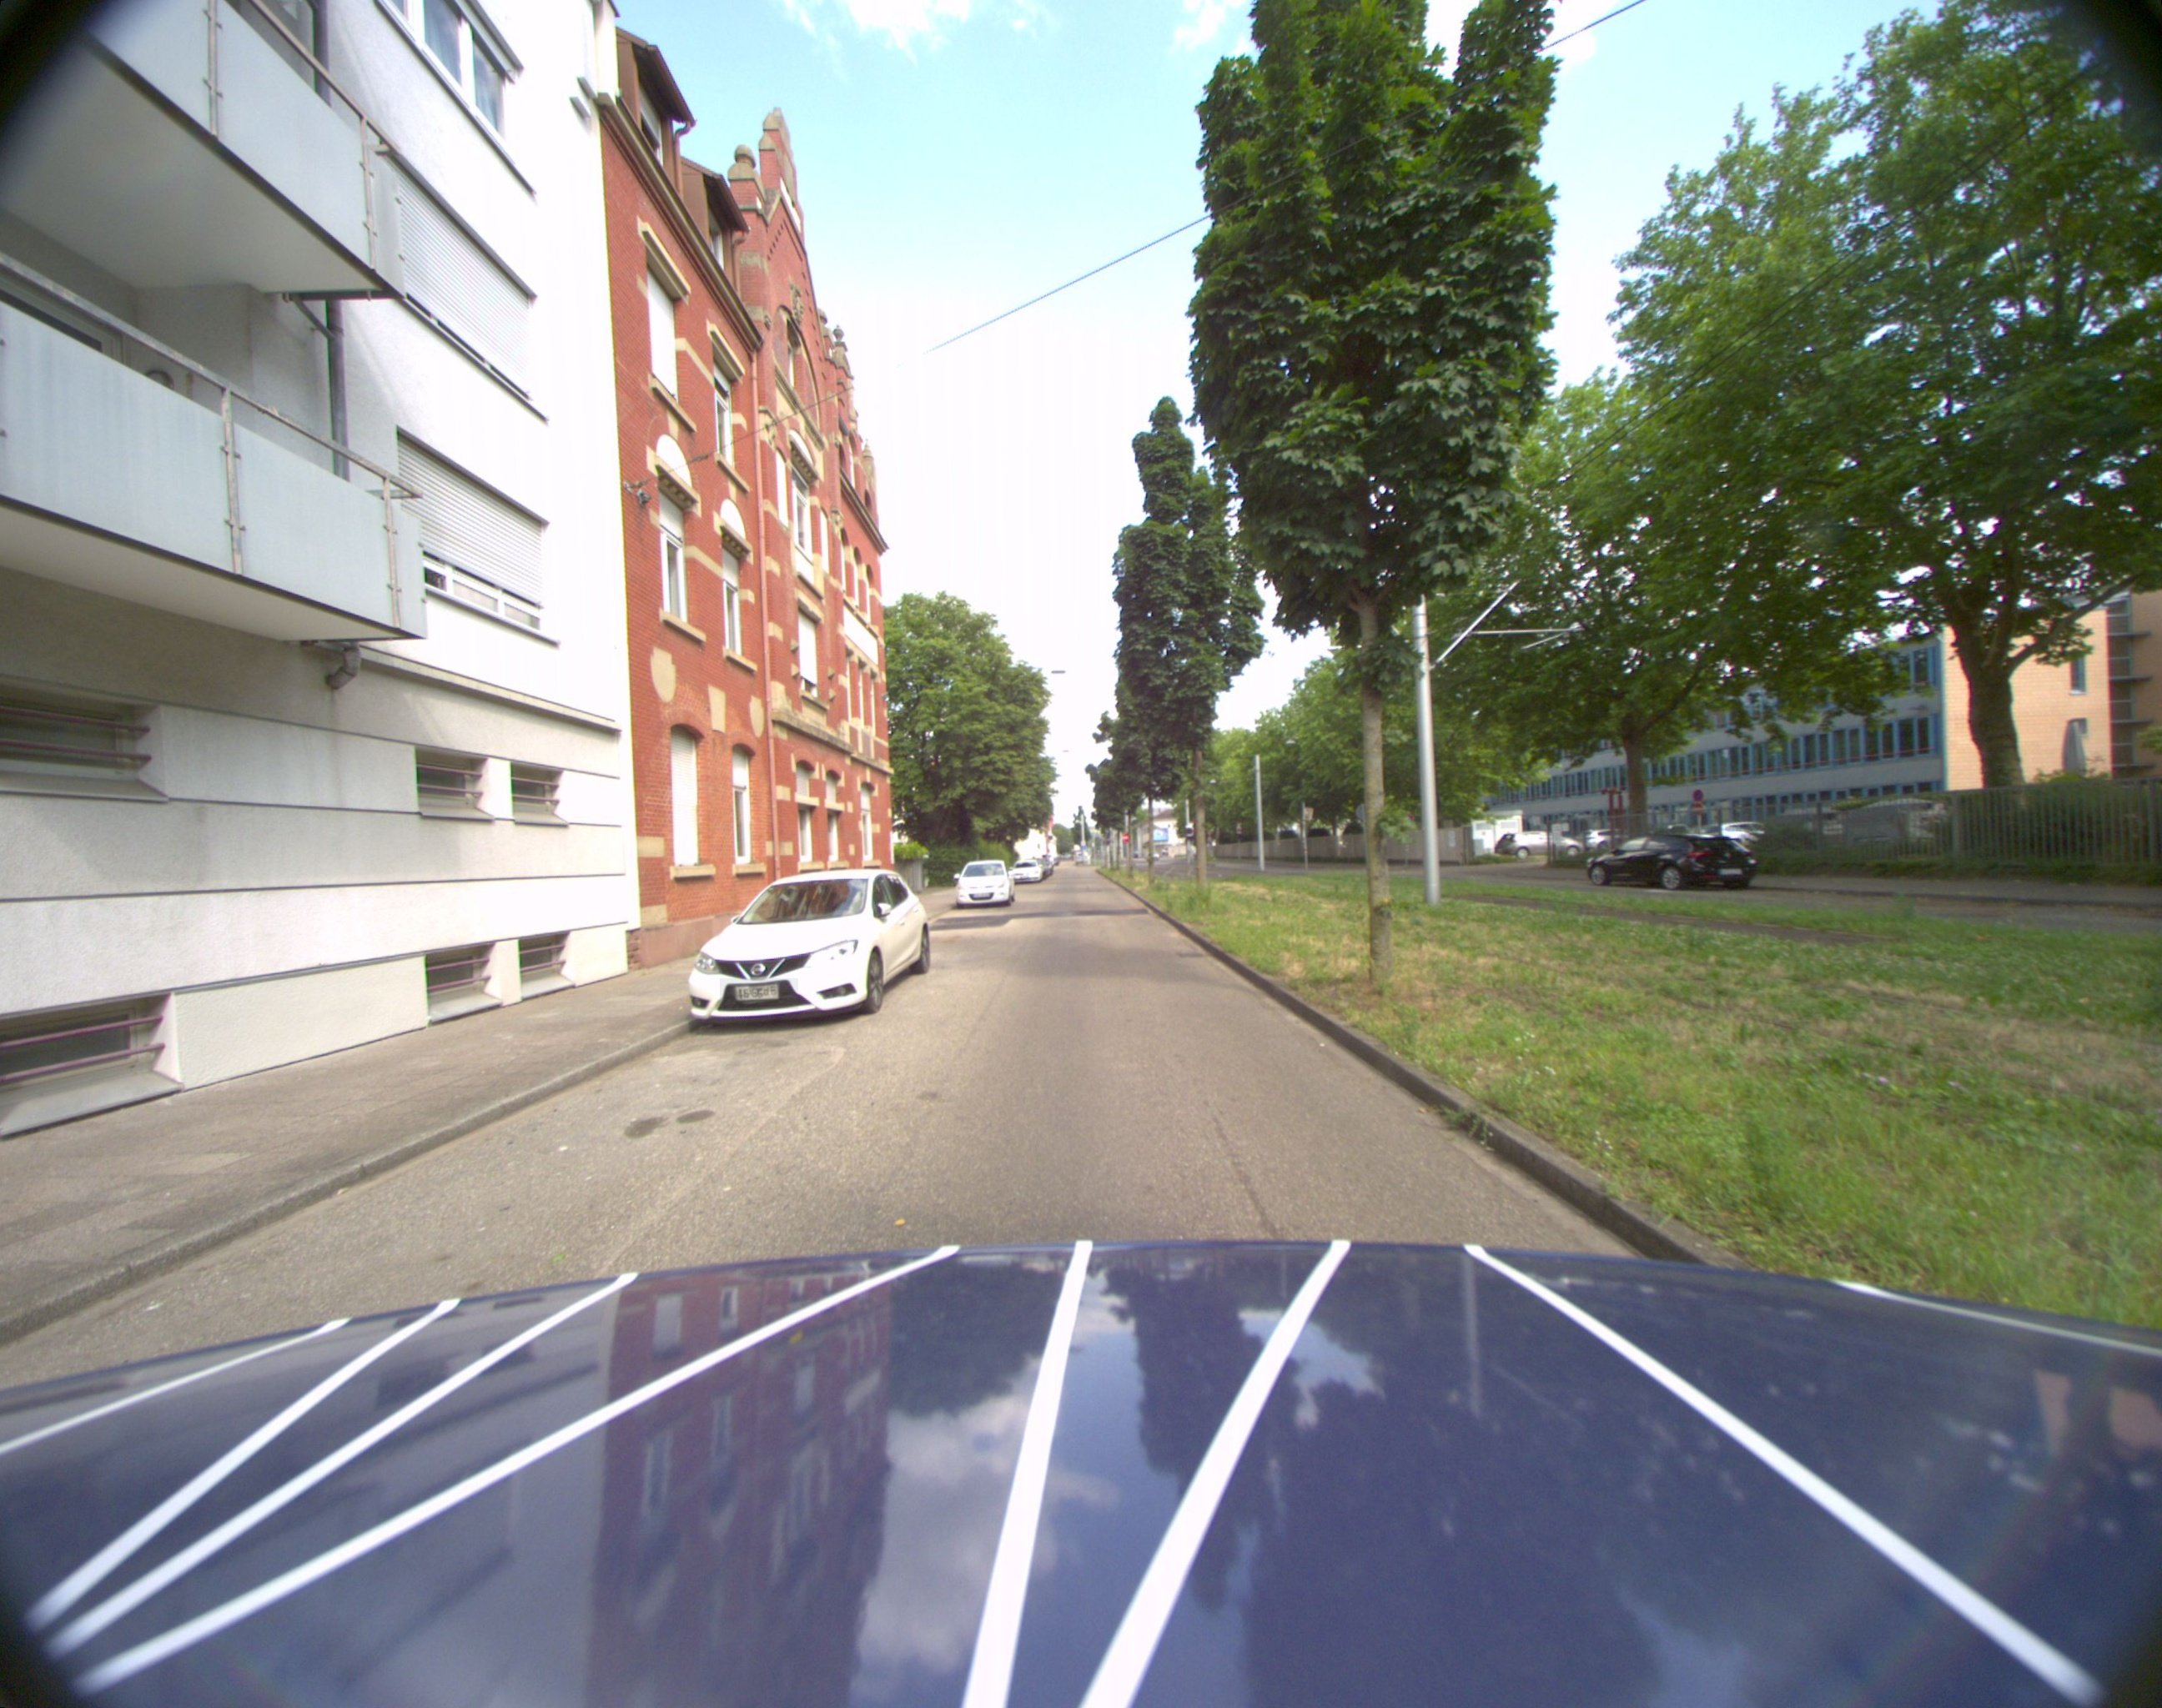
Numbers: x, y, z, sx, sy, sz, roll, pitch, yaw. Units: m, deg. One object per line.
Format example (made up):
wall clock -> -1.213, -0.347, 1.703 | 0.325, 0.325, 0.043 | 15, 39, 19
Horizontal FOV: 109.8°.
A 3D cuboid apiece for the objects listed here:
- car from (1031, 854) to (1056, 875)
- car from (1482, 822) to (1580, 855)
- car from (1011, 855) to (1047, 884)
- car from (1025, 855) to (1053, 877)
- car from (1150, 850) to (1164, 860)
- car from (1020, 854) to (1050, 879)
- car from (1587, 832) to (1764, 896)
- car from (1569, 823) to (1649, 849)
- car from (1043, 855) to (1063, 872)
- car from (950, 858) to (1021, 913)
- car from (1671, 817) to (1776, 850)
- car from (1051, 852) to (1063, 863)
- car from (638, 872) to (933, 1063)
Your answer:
car -> -3.147, 0.839, 63.866 | 1.801, 1.521, 4.040 | -5, 0, 0
car -> 23.849, -0.813, 40.372 | 3.997, 1.608, 1.999 | -2, 1, -2
car -> -3.151, 0.929, 46.739 | 1.801, 1.521, 4.040 | -5, 0, 0
car -> -3.214, 0.890, 58.453 | 1.801, 1.521, 4.040 | -5, 0, 0
car -> 12.227, 0.197, 122.917 | 1.801, 1.521, 4.040 | -4, 0, 0
car -> -3.174, 0.852, 52.993 | 1.801, 1.521, 4.040 | -5, 0, 0
car -> 15.548, 0.224, 20.155 | 1.601, 1.455, 4.000 | -3, 0, 2
car -> 35.368, -1.198, 50.954 | 3.997, 1.608, 1.999 | -2, 1, -2
car -> -2.802, 0.953, 77.398 | 1.801, 1.521, 4.040 | -5, 0, 0
car -> -3.084, 0.987, 25.278 | 1.801, 1.521, 4.040 | -4, 0, 0
car -> 34.553, -1.081, 40.965 | 3.997, 1.608, 1.999 | -2, 1, -2
car -> -3.872, 0.506, 122.166 | 1.801, 1.521, 4.040 | -5, 0, 0
car -> -3.063, 1.078, 8.896 | 1.801, 1.521, 4.040 | -3, 0, 0
